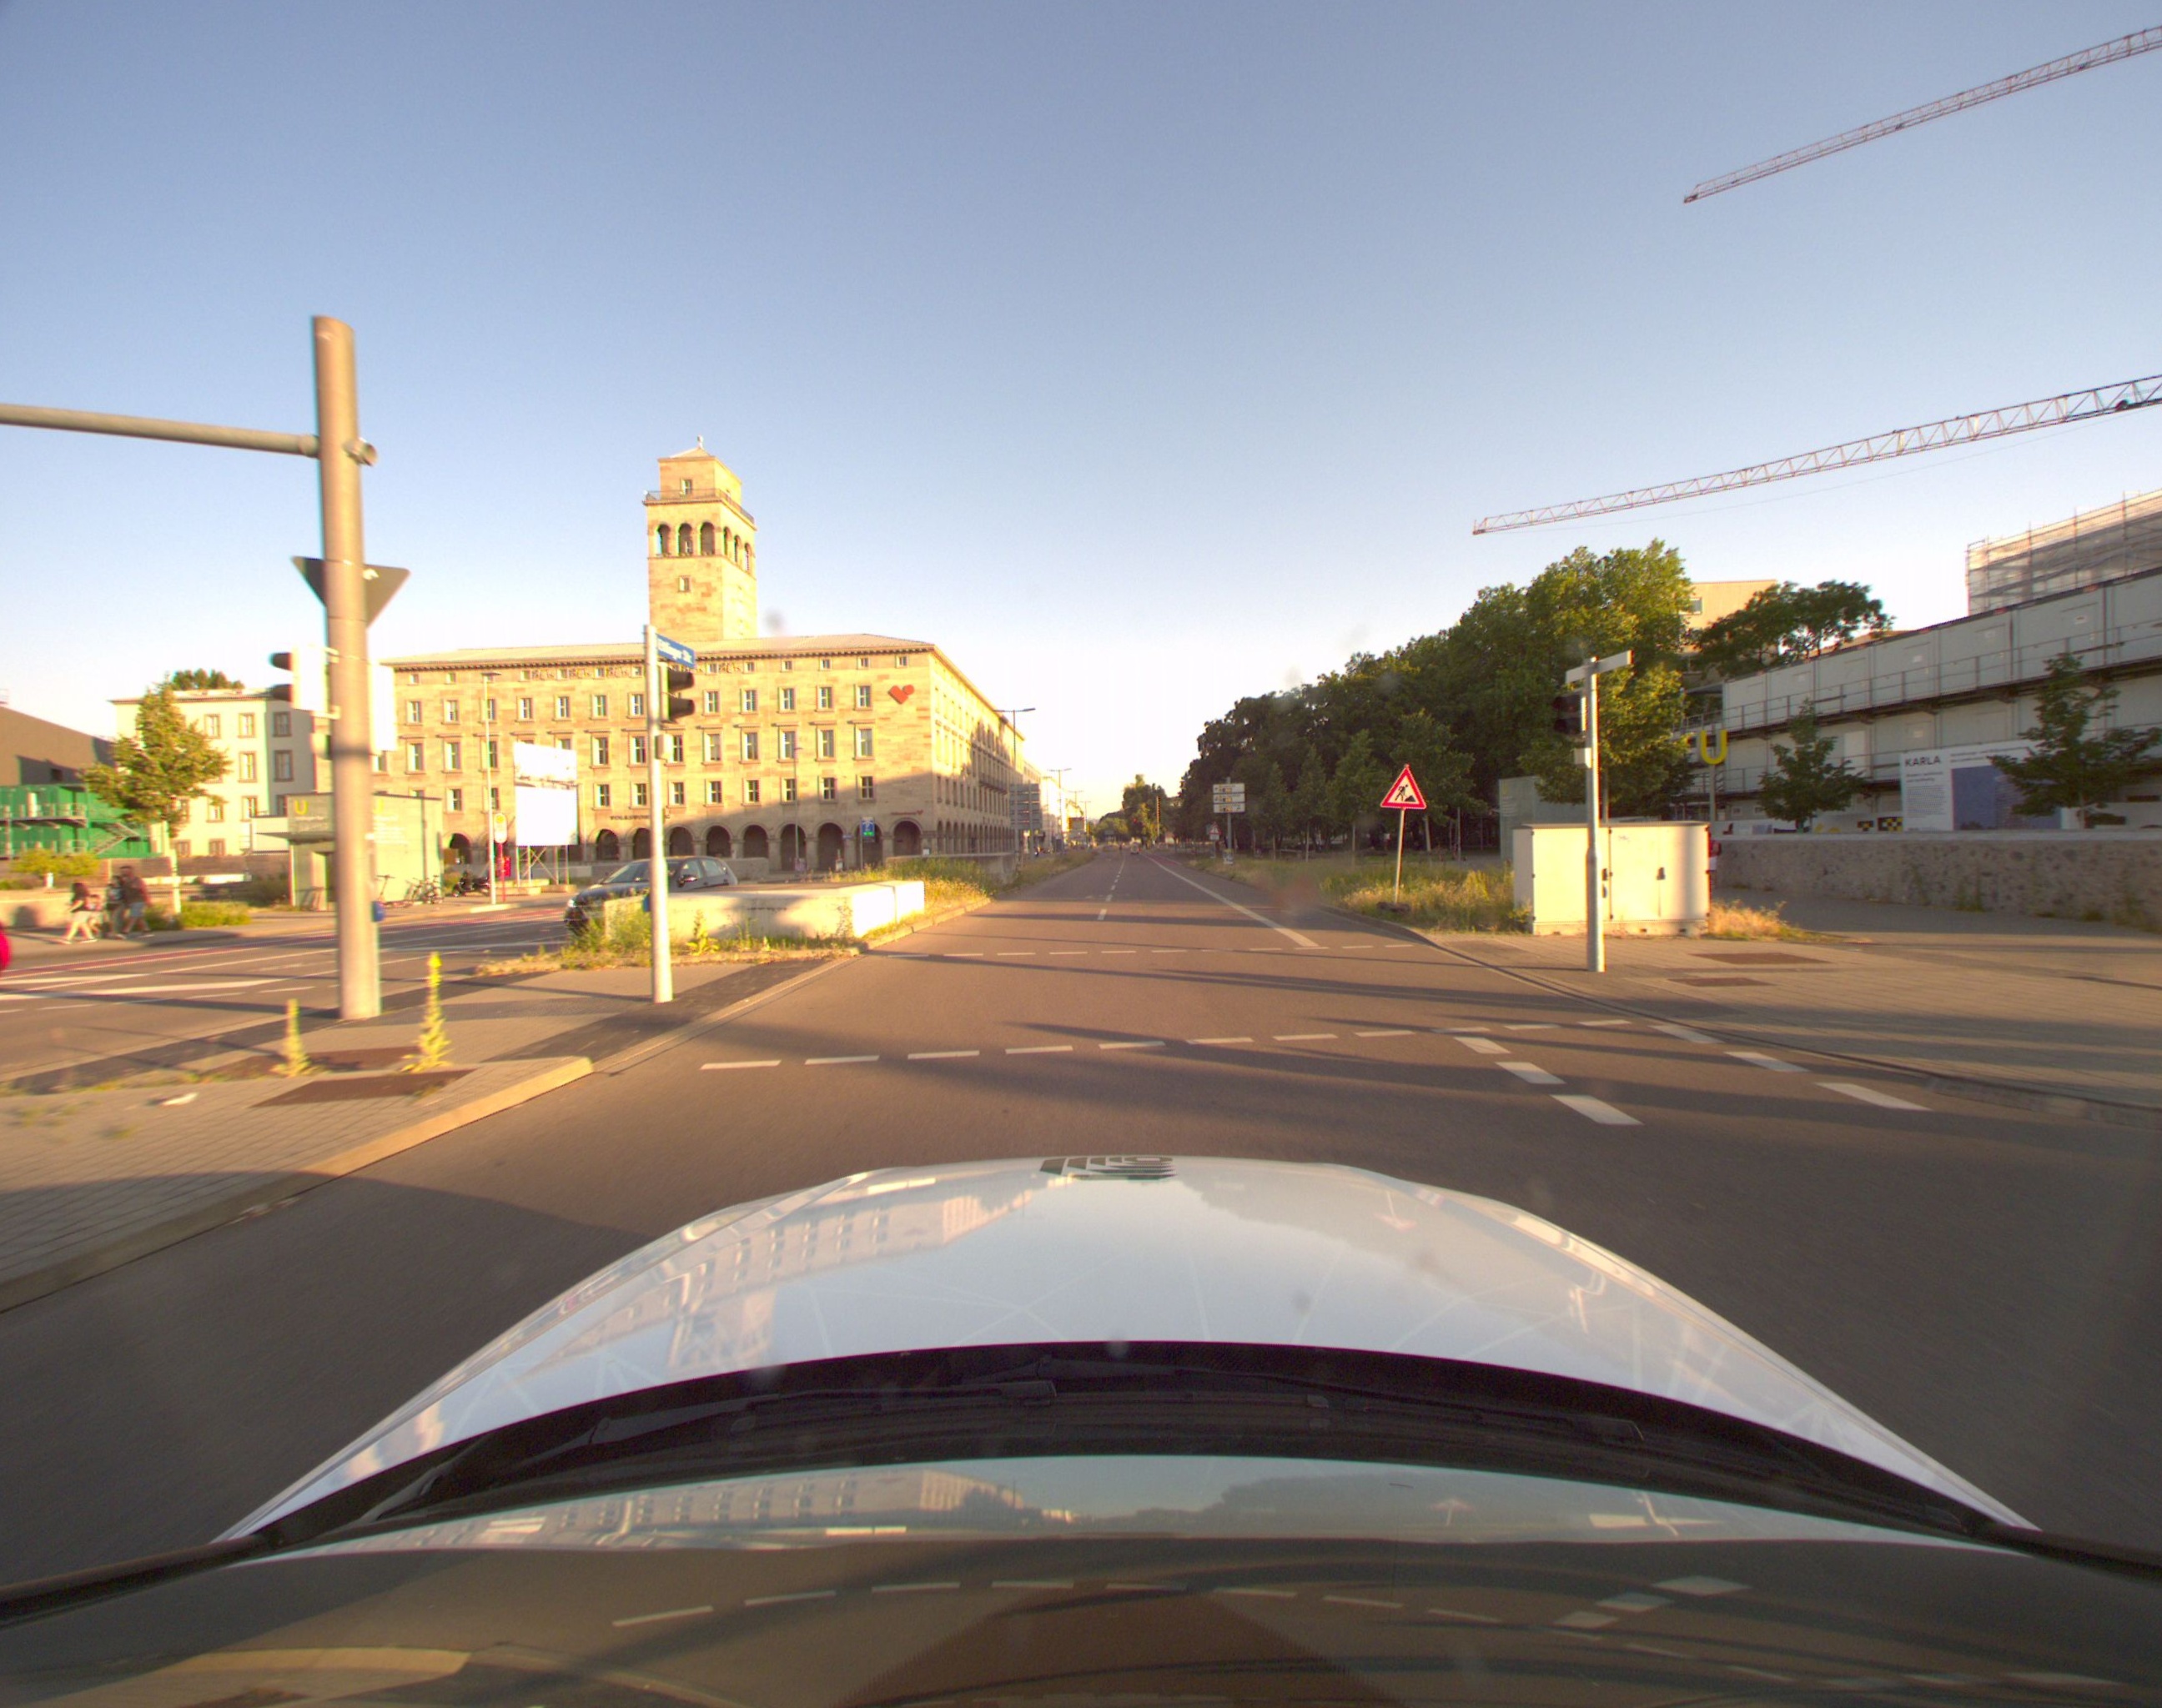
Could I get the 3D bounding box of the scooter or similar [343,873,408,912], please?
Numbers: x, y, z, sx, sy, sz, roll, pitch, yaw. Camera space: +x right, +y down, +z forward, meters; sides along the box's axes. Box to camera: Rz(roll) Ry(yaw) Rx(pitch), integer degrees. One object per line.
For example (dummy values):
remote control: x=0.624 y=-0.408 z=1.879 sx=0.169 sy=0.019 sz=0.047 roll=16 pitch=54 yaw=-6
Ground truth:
scooter or similar: x=-25.297 y=1.384 z=29.223 sx=1.827 sy=1.305 sz=0.423 roll=-2 pitch=0 yaw=-4

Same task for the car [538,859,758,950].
car: x=-8.512 y=0.897 z=16.584 sx=1.879 sy=1.465 sz=4.540 roll=-2 pitch=1 yaw=2

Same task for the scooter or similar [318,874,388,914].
scooter or similar: x=-25.240 y=1.389 z=28.232 sx=1.854 sy=1.305 sz=0.500 roll=-2 pitch=0 yaw=-4

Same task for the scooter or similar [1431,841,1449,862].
scooter or similar: x=21.457 y=-0.138 z=48.712 sx=0.422 sy=1.220 sz=1.400 roll=-4 pitch=0 yaw=3

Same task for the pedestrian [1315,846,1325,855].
pedestrian: x=23.520 y=-0.333 z=80.016 sx=0.681 sy=0.884 sz=0.619 roll=-2 pitch=1 yaw=-20

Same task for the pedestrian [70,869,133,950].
pedestrian: x=-24.078 y=1.346 z=20.028 sx=0.656 sy=1.933 sz=0.648 roll=-2 pitch=1 yaw=4

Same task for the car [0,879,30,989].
car: x=-15.985 y=1.214 z=9.673 sx=1.629 sy=1.526 sz=4.001 roll=-4 pitch=1 yaw=1

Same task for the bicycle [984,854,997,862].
bicycle: x=-11.805 y=0.469 z=106.243 sx=0.472 sy=1.005 sz=2.018 roll=-2 pitch=1 yaw=38

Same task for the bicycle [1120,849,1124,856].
bicycle: x=6.995 y=-0.281 z=138.027 sx=0.635 sy=1.069 sz=2.071 roll=-2 pitch=1 yaw=3

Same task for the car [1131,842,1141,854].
car: x=9.008 y=-1.007 z=133.788 sx=1.452 sy=1.780 sz=2.568 roll=-2 pitch=1 yaw=5

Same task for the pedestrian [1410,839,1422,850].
pedestrian: x=37.803 y=-1.056 z=91.876 sx=1.126 sy=1.260 sz=0.727 roll=-2 pitch=0 yaw=5

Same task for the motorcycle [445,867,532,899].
motorcycle: x=-25.995 y=1.271 z=35.765 sx=3.221 sy=1.383 sz=0.840 roll=0 pitch=0 yaw=0

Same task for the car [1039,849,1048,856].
car: x=-8.919 y=-0.432 z=196.058 sx=1.789 sy=1.475 sz=4.001 roll=-2 pitch=-2 yaw=2

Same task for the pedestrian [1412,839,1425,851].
pedestrian: x=37.658 y=-1.033 z=90.929 sx=1.126 sy=1.260 sz=0.907 roll=-2 pitch=0 yaw=5

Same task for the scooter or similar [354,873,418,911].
scooter or similar: x=-25.313 y=1.375 z=29.665 sx=1.831 sy=1.305 sz=0.423 roll=-2 pitch=0 yaw=-4

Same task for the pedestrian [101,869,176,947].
pedestrian: x=-23.239 y=1.306 z=20.092 sx=0.868 sy=1.836 sz=0.776 roll=-2 pitch=0 yaw=3

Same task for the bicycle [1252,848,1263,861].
bicycle: x=14.847 y=0.036 z=68.531 sx=0.490 sy=1.005 sz=1.909 roll=-4 pitch=0 yaw=22

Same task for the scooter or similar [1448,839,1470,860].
scooter or similar: x=22.616 y=-0.267 z=48.752 sx=0.472 sy=1.220 sz=1.572 roll=-4 pitch=0 yaw=-4

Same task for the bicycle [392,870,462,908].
bicycle: x=-25.391 y=1.326 z=31.671 sx=0.615 sy=1.324 sz=2.510 roll=-2 pitch=0 yaw=1

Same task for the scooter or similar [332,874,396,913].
scooter or similar: x=-25.287 y=1.393 z=28.739 sx=1.784 sy=1.305 sz=0.417 roll=-2 pitch=0 yaw=-4

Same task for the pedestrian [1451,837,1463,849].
pedestrian: x=37.281 y=-1.133 z=80.704 sx=0.784 sy=1.164 sz=0.766 roll=-2 pitch=0 yaw=-3

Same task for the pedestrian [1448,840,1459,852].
pedestrian: x=37.313 y=-0.767 z=81.598 sx=0.784 sy=1.164 sz=0.766 roll=-2 pitch=0 yaw=-3

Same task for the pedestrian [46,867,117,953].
pedestrian: x=-23.270 y=1.283 z=18.970 sx=0.628 sy=1.933 sz=0.776 roll=0 pitch=1 yaw=4

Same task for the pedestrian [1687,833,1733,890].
pedestrian: x=16.841 y=0.187 z=21.818 sx=0.757 sy=1.490 sz=0.645 roll=-2 pitch=2 yaw=1
